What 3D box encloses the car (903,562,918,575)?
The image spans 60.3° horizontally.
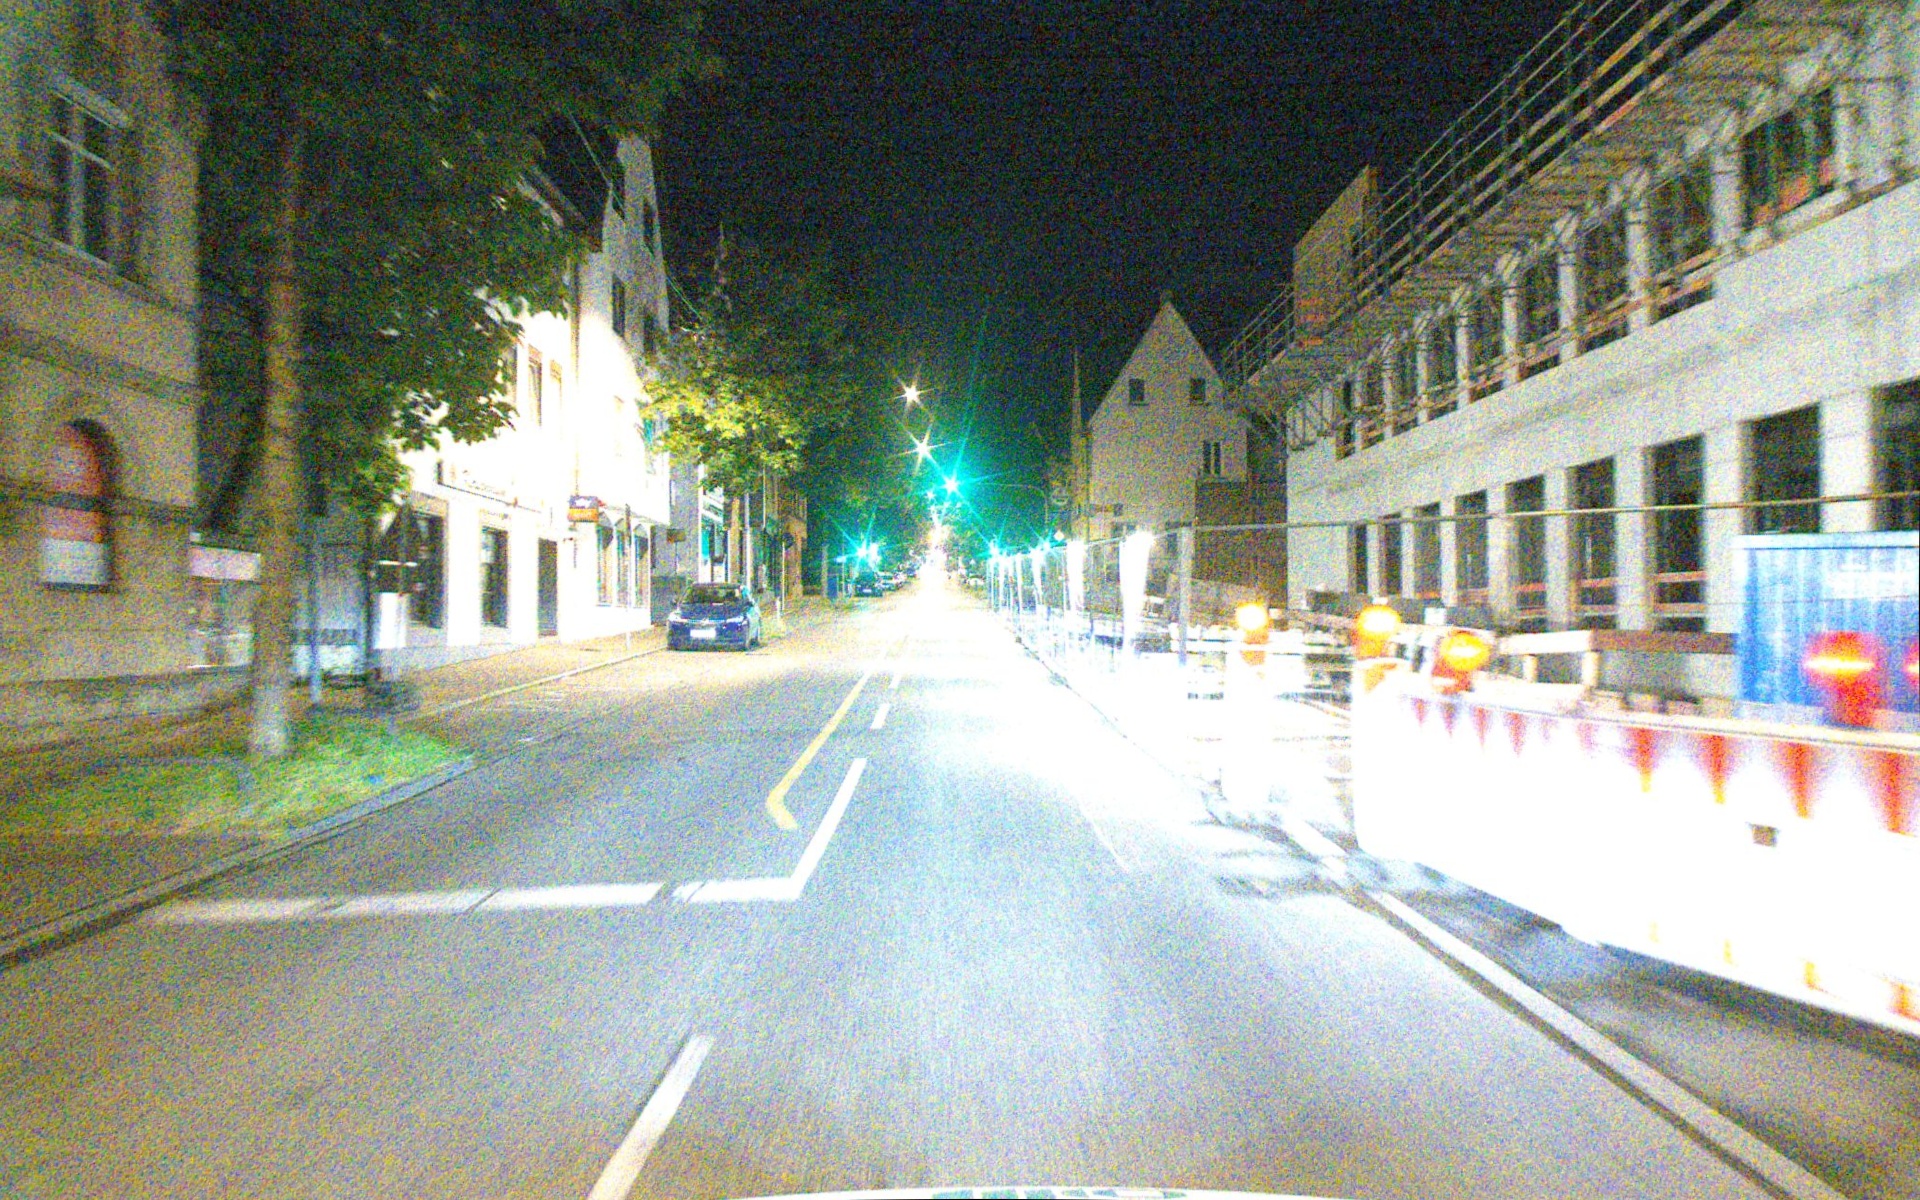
[{"bbox_3d":[-7.058,-4.448,237.179,2.035,1.846,4.205,0,1,0],"label":"car"}]

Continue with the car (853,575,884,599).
[{"bbox_3d":[-6.028,-0.877,109.271,1.835,1.571,4.204,0,1,-1],"label":"car"}]

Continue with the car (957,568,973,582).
[{"bbox_3d":[0.601,-2.996,198.784,1.835,1.571,4.204,0,1,-1],"label":"car"}]

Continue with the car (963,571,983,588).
[{"bbox_3d":[1.230,-1.972,159.846,1.835,1.571,4.204,0,1,-1],"label":"car"}]

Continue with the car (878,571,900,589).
[{"bbox_3d":[-6.304,-1.753,146.746,1.835,1.571,4.204,0,1,-1],"label":"car"}]

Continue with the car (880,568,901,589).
[{"bbox_3d":[-6.419,-2.022,152.721,1.835,1.846,4.204,0,1,-1],"label":"car"}]

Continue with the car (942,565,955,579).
[{"bbox_3d":[-1.591,-3.930,230.704,1.835,1.846,4.205,0,1,0],"label":"car"}]

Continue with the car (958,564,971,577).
[{"bbox_3d":[0.716,-4.396,247.339,1.835,1.940,4.204,0,1,-1],"label":"car"}]

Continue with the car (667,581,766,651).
[{"bbox_3d":[-5.424,0.313,37.281,1.637,1.468,4.204,0,1,-1],"label":"car"}]
